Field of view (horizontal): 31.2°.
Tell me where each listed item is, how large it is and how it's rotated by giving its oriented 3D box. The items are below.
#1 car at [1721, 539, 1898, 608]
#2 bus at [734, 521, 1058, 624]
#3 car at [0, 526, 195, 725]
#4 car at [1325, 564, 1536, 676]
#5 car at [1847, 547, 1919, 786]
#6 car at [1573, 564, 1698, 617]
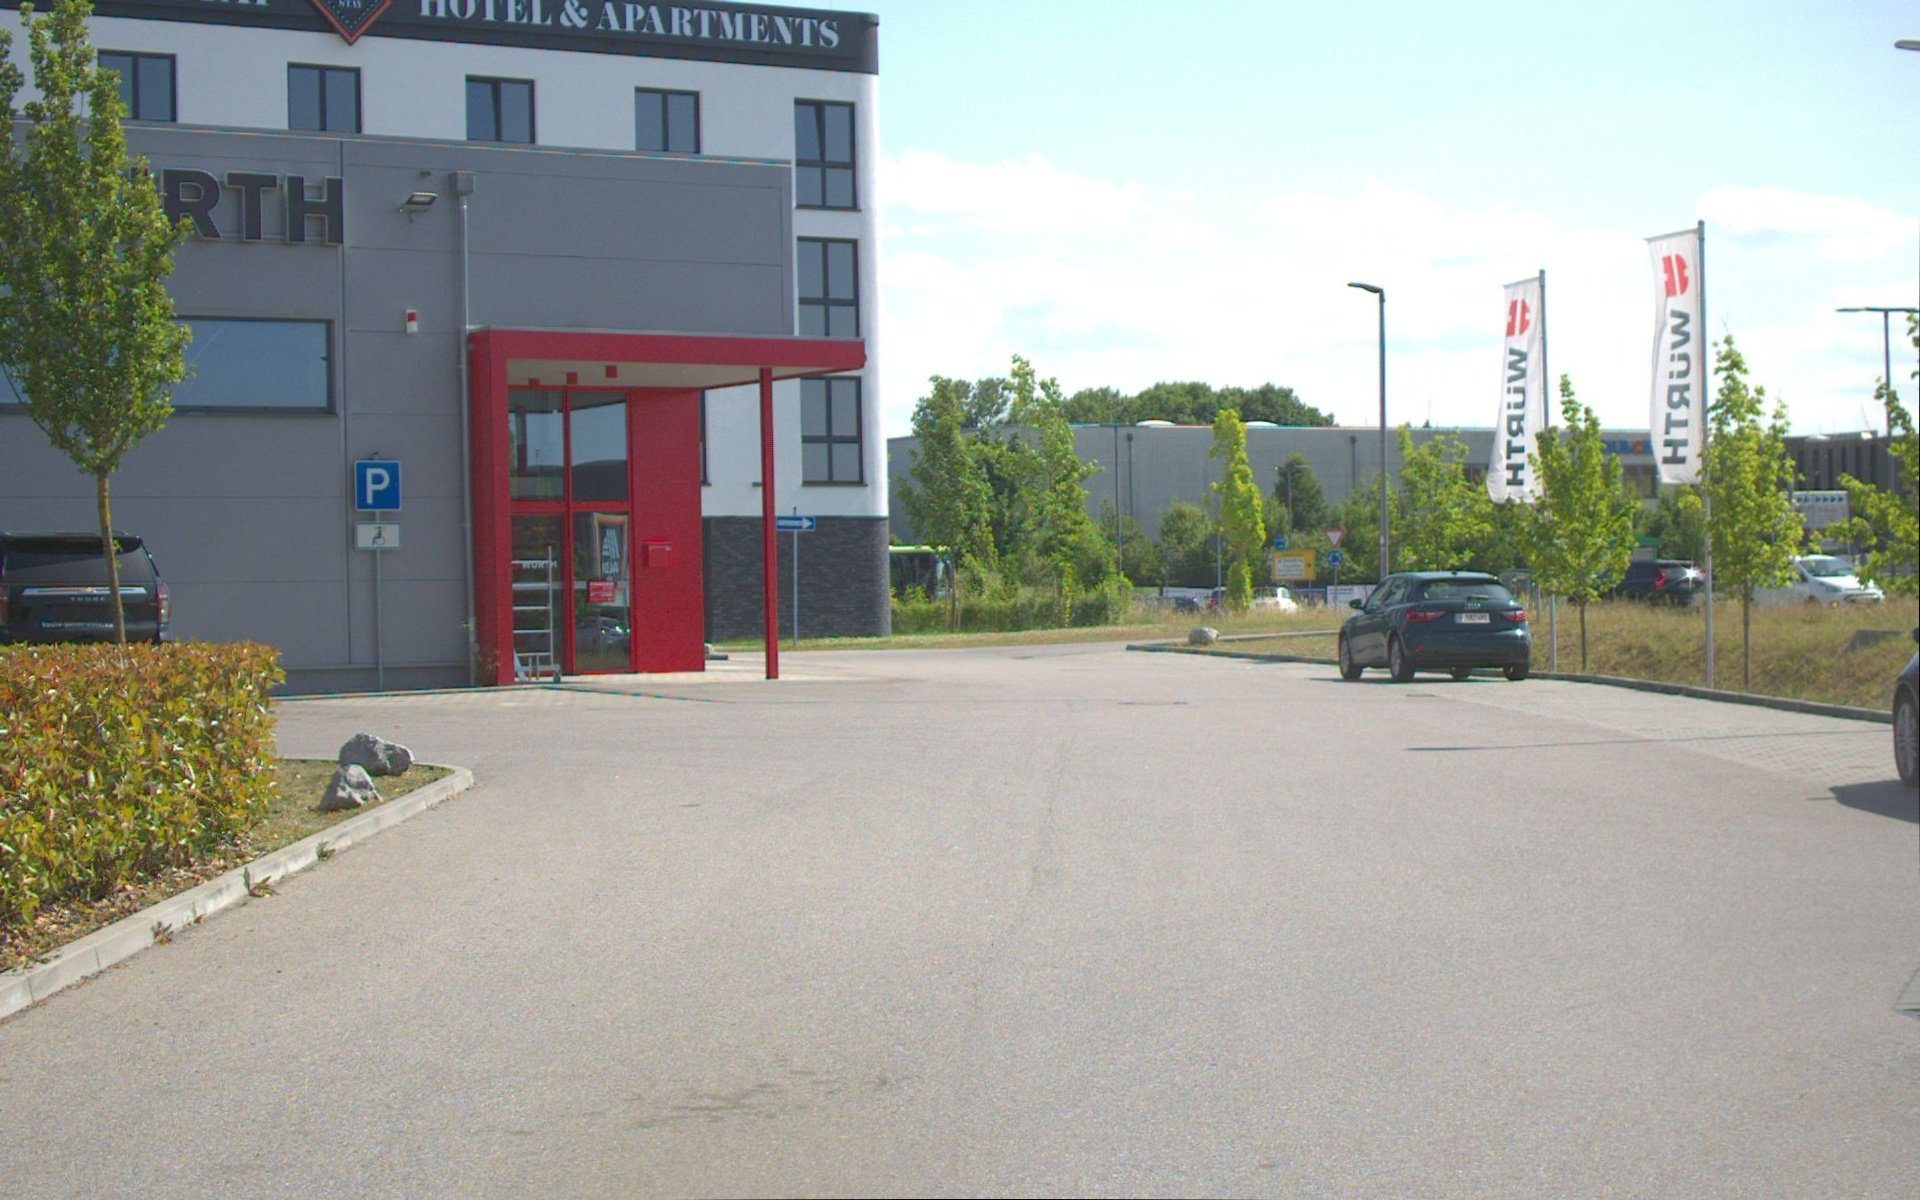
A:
[{"bbox_3d":[18.898,-0.600,76.630,1.872,1.478,4.001,-1,1,-21],"label":"car"},{"bbox_3d":[-2.264,-0.973,122.502,11.220,3.545,2.574,0,1,12],"label":"bus"},{"bbox_3d":[-9.711,0.213,35.284,2.071,1.874,4.879,-1,1,-32],"label":"car"},{"bbox_3d":[6.119,0.234,45.082,1.698,1.401,3.898,0,0,-9],"label":"car"},{"bbox_3d":[6.870,0.390,20.707,1.836,1.472,4.120,-2,1,-2],"label":"car"},{"bbox_3d":[18.406,-0.277,93.784,1.646,1.381,3.513,-1,1,-23],"label":"car"}]
